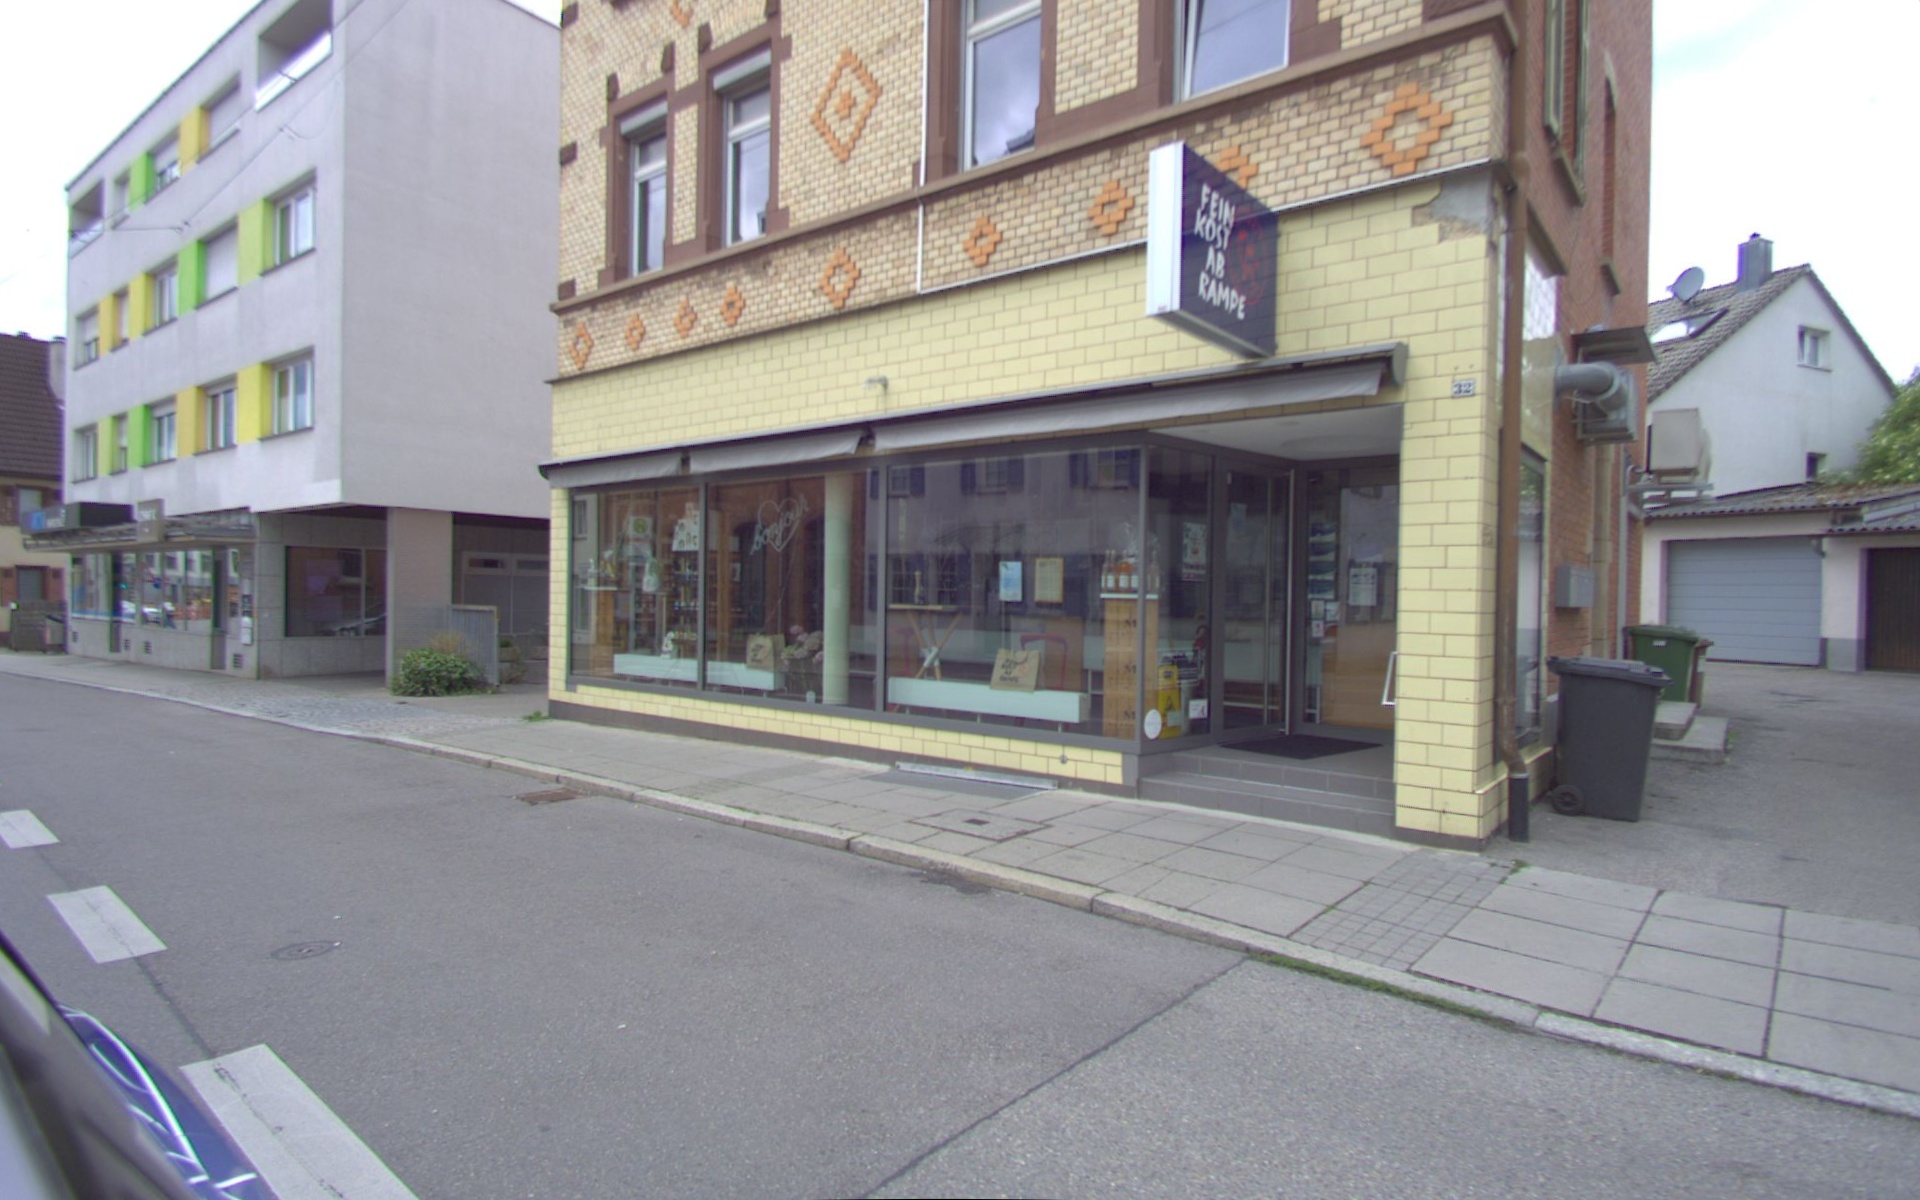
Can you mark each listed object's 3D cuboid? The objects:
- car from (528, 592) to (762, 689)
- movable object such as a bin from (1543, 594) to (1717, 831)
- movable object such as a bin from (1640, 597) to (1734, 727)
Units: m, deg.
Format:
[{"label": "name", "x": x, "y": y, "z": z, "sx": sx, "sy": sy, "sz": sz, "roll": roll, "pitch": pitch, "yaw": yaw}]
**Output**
[{"label": "car", "x": -5.995, "y": 0.694, "z": 19.612, "sx": 1.885, "sy": 1.674, "sz": 3.956, "roll": 0, "pitch": 0, "yaw": 40}, {"label": "movable object such as a bin", "x": 4.504, "y": 0.689, "z": 6.796, "sx": 0.823, "sy": 1.388, "sz": 0.932, "roll": 4, "pitch": 4, "yaw": 40}, {"label": "movable object such as a bin", "x": 8.212, "y": 0.668, "z": 11.431, "sx": 0.793, "sy": 1.389, "sz": 0.932, "roll": -1, "pitch": -1, "yaw": 40}]
